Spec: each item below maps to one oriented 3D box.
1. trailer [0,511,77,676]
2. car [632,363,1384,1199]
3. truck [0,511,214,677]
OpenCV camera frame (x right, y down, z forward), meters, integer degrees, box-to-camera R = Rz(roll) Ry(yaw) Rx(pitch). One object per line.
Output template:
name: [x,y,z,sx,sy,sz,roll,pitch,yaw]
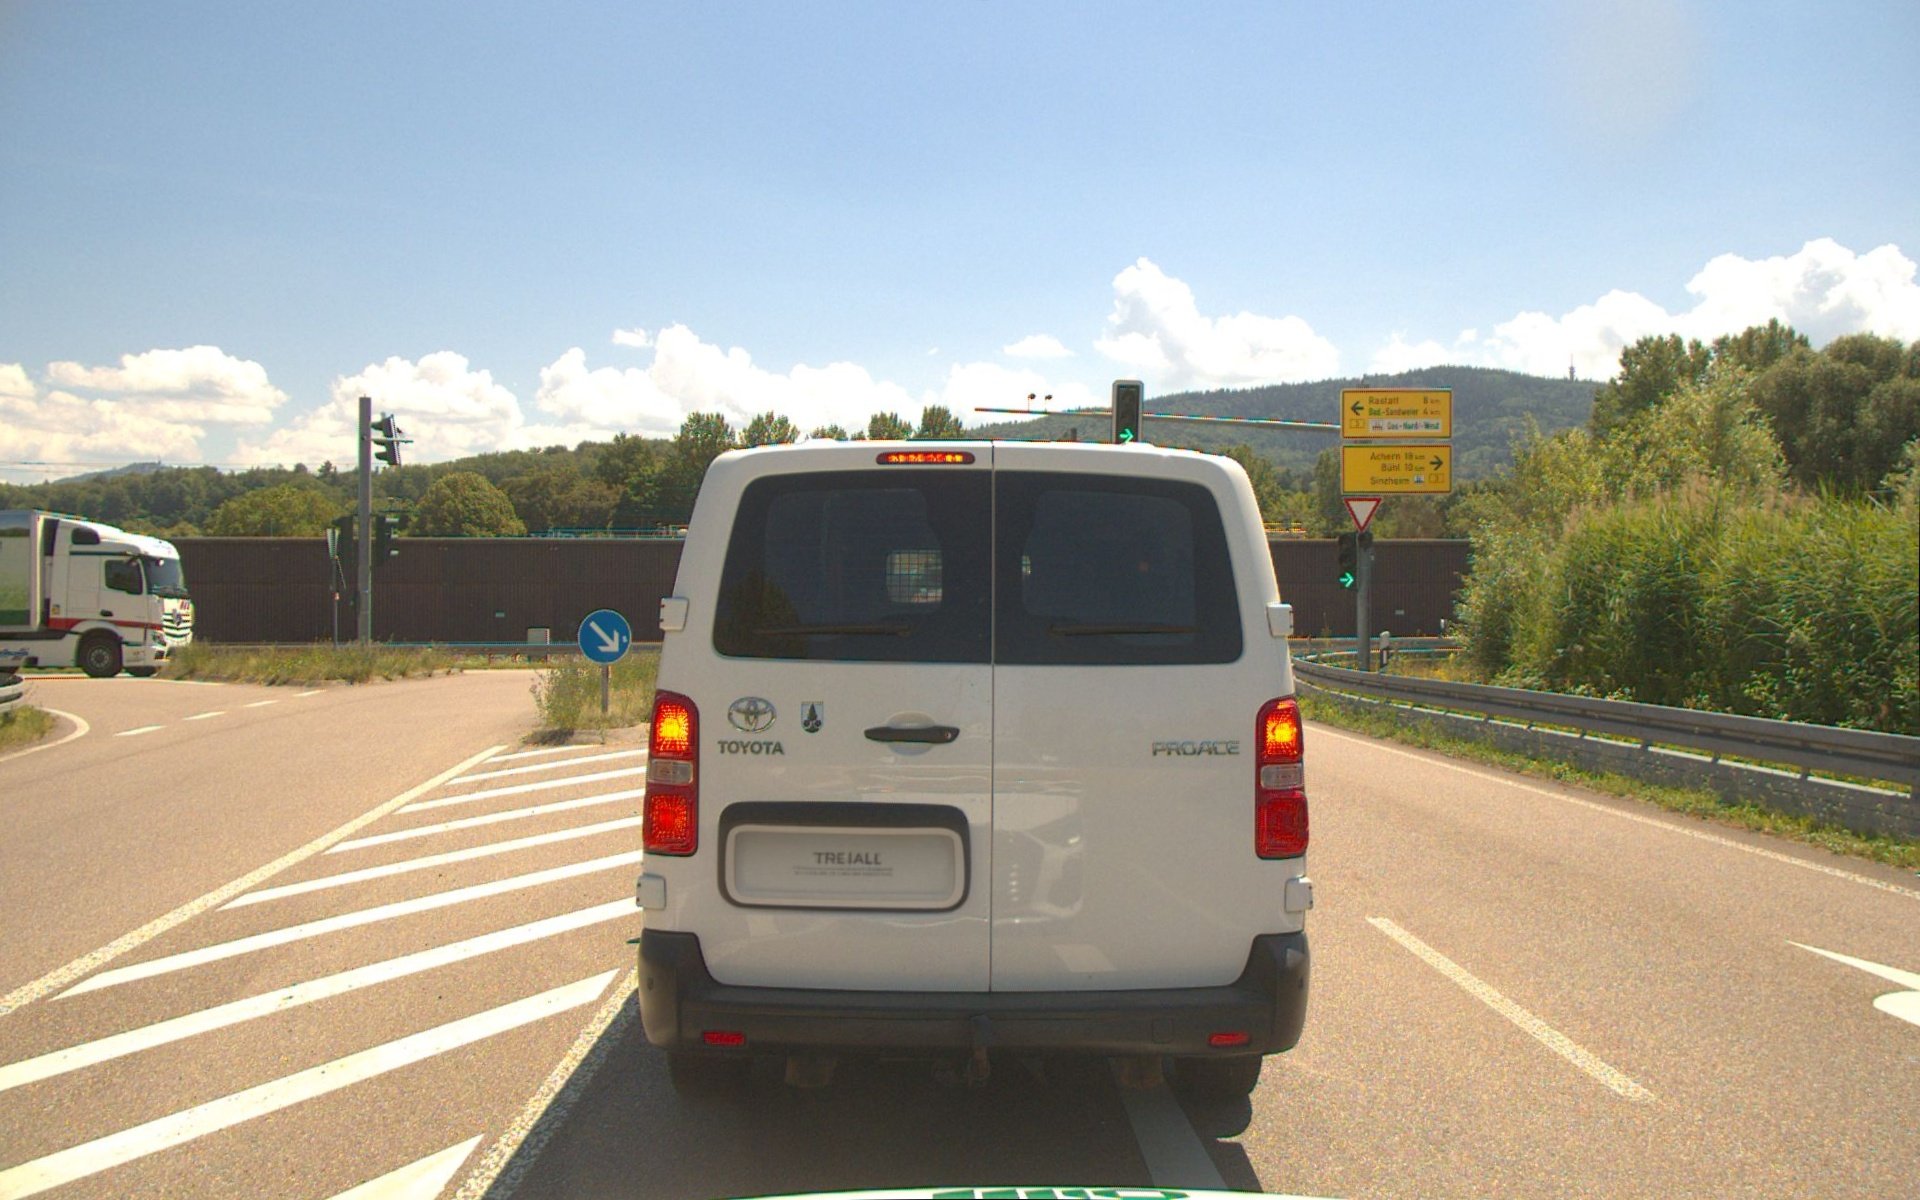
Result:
trailer: [-29.510,-0.169,41.440,12.877,4.024,3.060,0,-1,-3]
car: [0.089,0.480,5.920,1.778,2.053,3.999,0,0,-1]
truck: [-22.381,-0.130,41.778,5.649,4.024,3.061,0,-1,-3]
